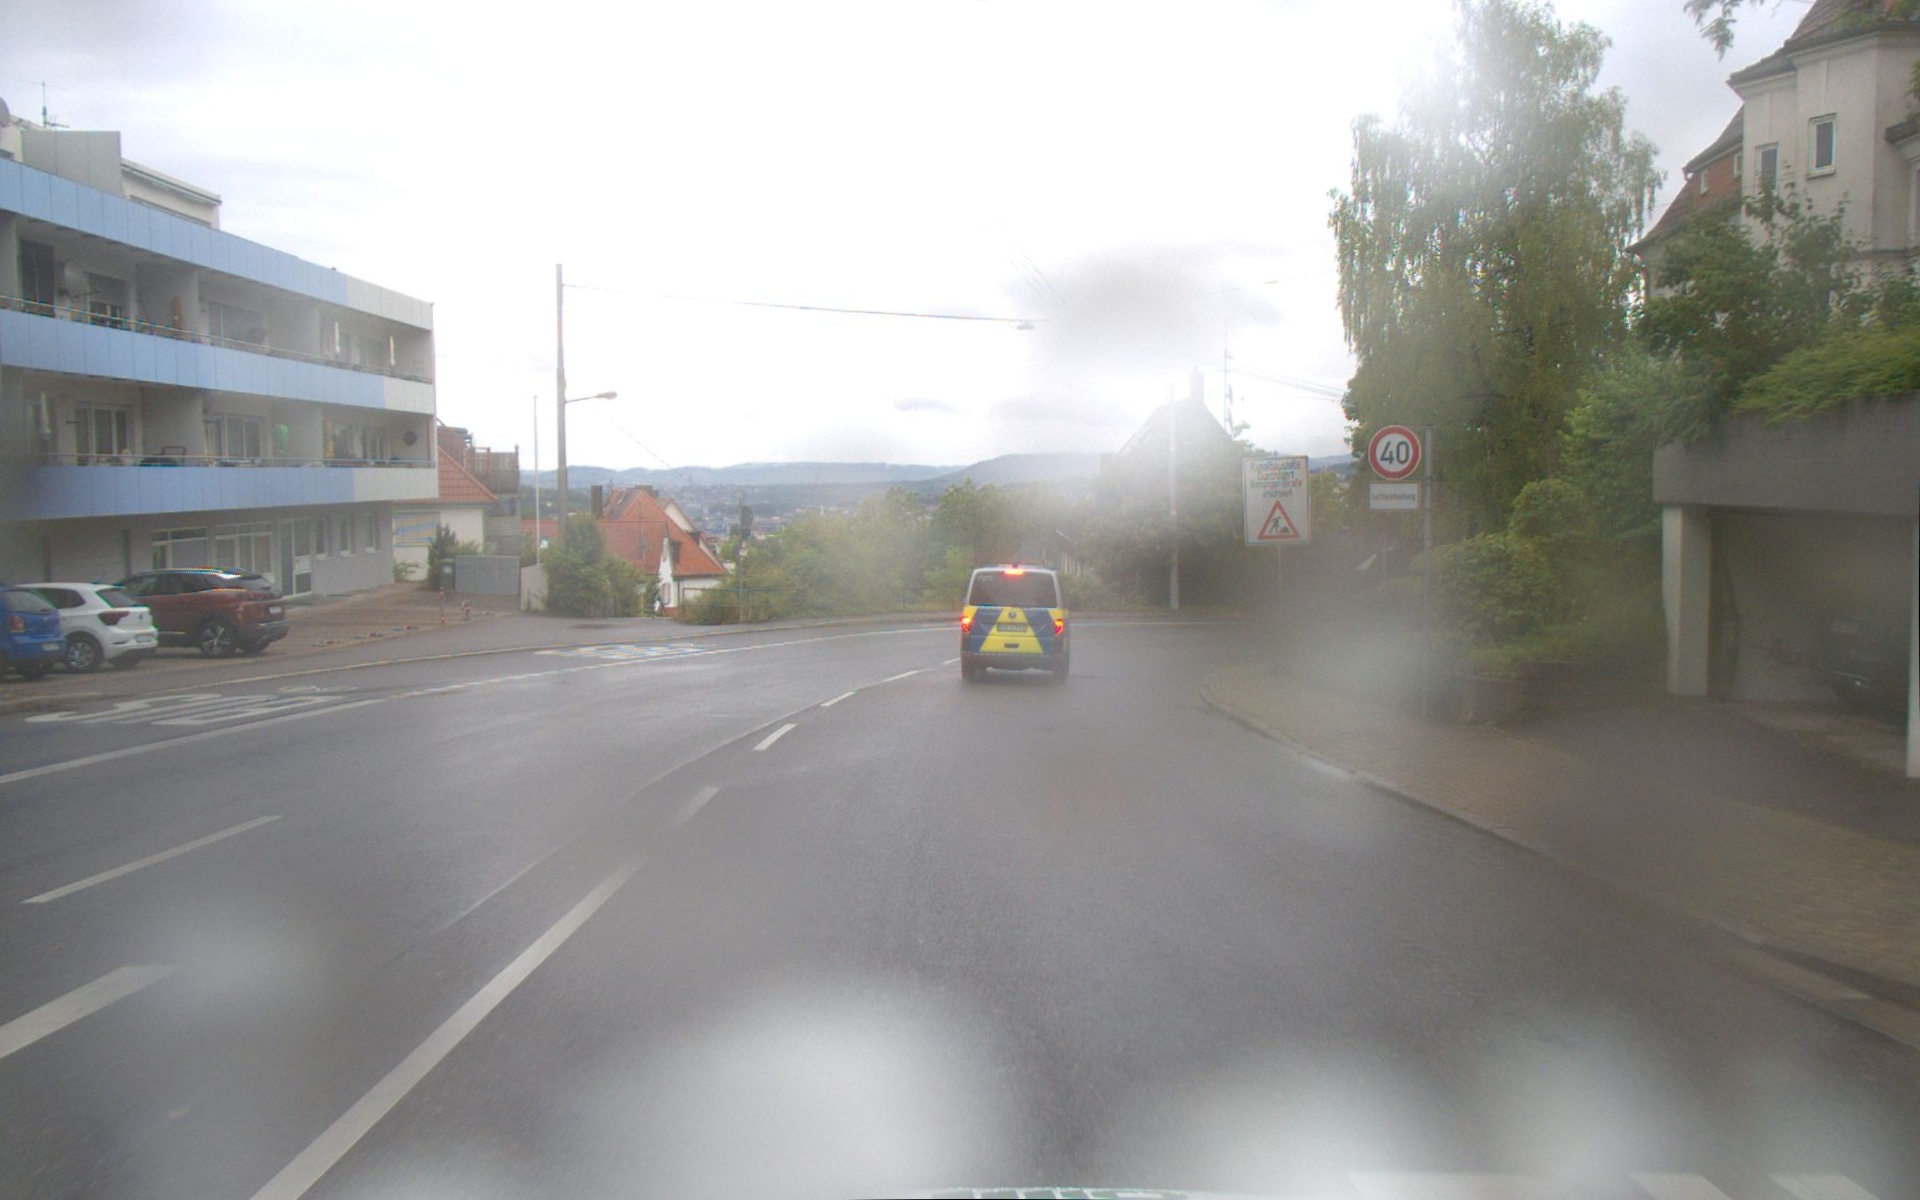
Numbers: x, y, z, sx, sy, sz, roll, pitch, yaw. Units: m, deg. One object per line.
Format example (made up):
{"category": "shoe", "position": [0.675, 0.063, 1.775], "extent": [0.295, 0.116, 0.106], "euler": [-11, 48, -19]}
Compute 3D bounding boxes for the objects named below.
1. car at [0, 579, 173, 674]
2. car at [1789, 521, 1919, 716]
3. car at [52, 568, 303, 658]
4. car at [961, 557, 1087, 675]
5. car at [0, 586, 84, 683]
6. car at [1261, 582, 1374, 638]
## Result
{"category": "car", "position": [-15.214, 0.415, 27.551], "extent": [3.360, 1.470, 1.708], "euler": [1, 1, -1]}
{"category": "car", "position": [10.069, 0.163, 15.229], "extent": [3.903, 1.656, 1.801], "euler": [1, 4, 3]}
{"category": "car", "position": [-14.567, 0.229, 30.957], "extent": [3.844, 1.577, 1.715], "euler": [1, 1, -3]}
{"category": "car", "position": [1.244, 0.245, 29.846], "extent": [1.951, 1.926, 4.573], "euler": [1, 1, 6]}
{"category": "car", "position": [-15.427, 0.519, 25.078], "extent": [3.364, 1.414, 1.636], "euler": [-1, 1, -5]}
{"category": "car", "position": [10.227, 0.263, 47.111], "extent": [1.759, 1.471, 4.093], "euler": [1, 1, 34]}
